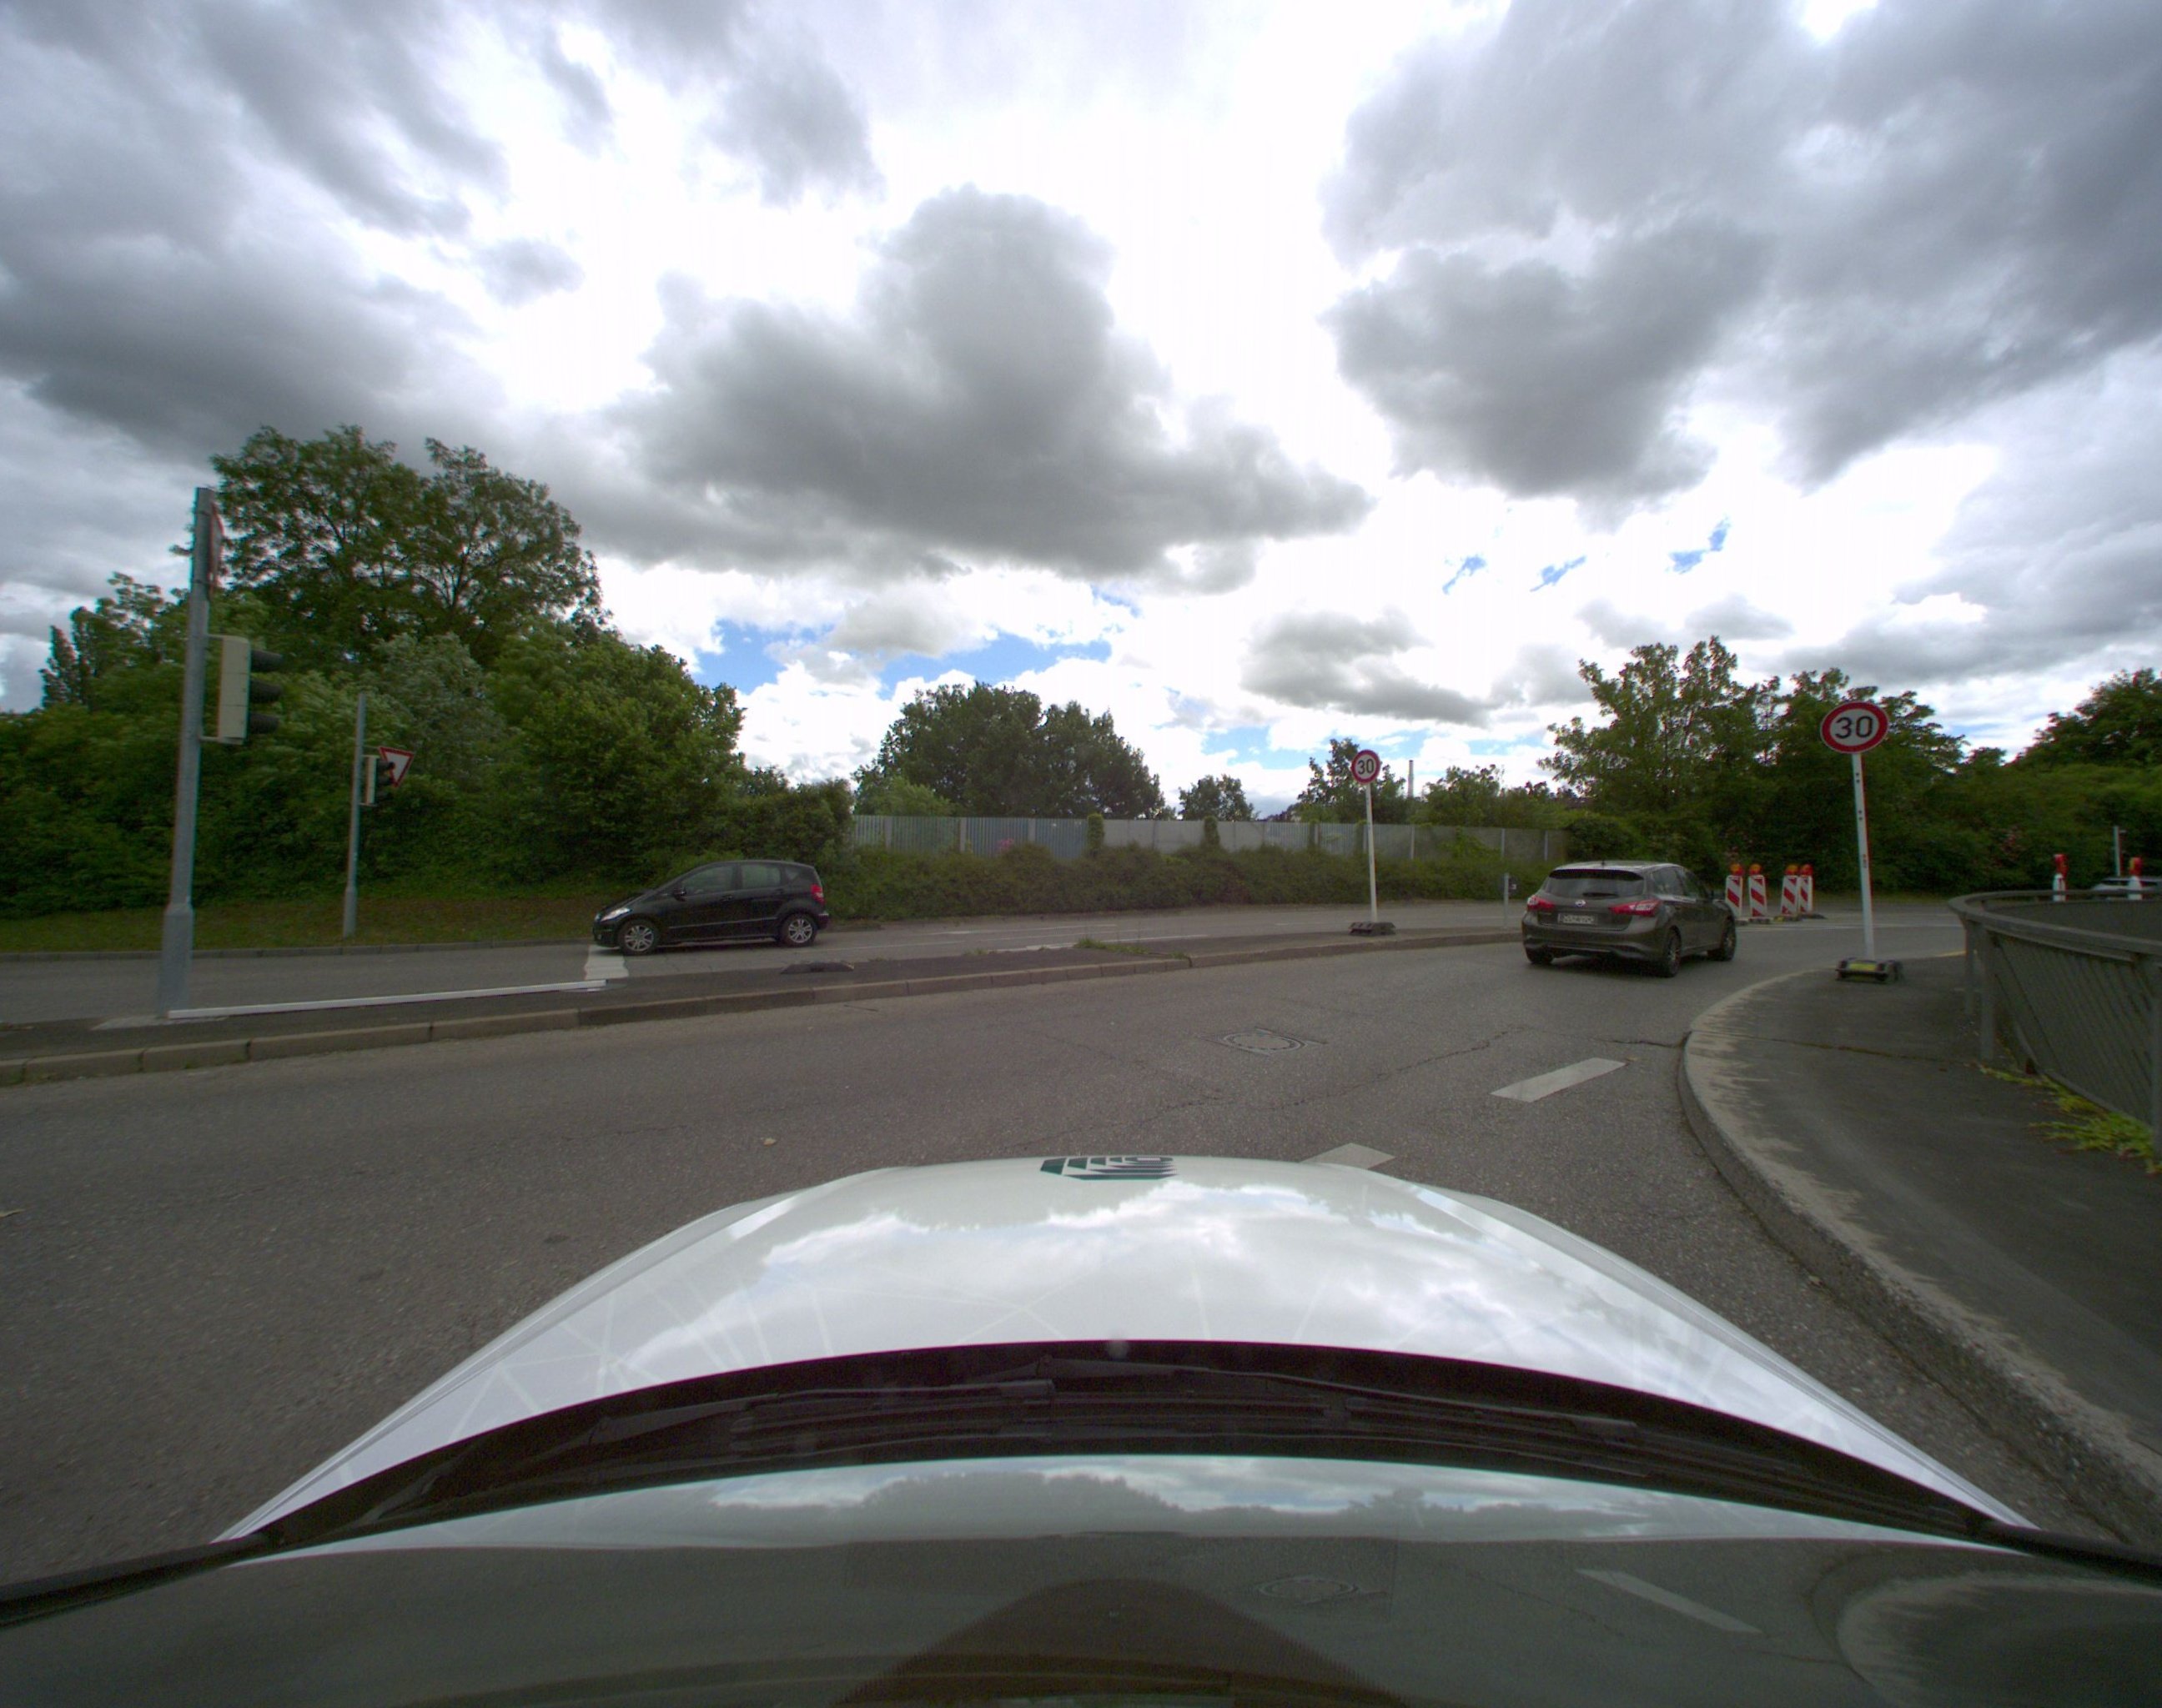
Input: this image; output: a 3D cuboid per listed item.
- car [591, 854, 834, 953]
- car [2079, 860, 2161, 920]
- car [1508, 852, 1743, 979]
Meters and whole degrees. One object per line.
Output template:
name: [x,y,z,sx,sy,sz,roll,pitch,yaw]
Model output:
car: [-6.569,0.822,14.642,3.800,1.552,1.627,0,-2,-30]
car: [30.045,0.955,22.679,3.791,1.552,1.812,0,0,-22]
car: [8.083,0.756,11.957,4.020,1.552,1.782,0,0,-40]
